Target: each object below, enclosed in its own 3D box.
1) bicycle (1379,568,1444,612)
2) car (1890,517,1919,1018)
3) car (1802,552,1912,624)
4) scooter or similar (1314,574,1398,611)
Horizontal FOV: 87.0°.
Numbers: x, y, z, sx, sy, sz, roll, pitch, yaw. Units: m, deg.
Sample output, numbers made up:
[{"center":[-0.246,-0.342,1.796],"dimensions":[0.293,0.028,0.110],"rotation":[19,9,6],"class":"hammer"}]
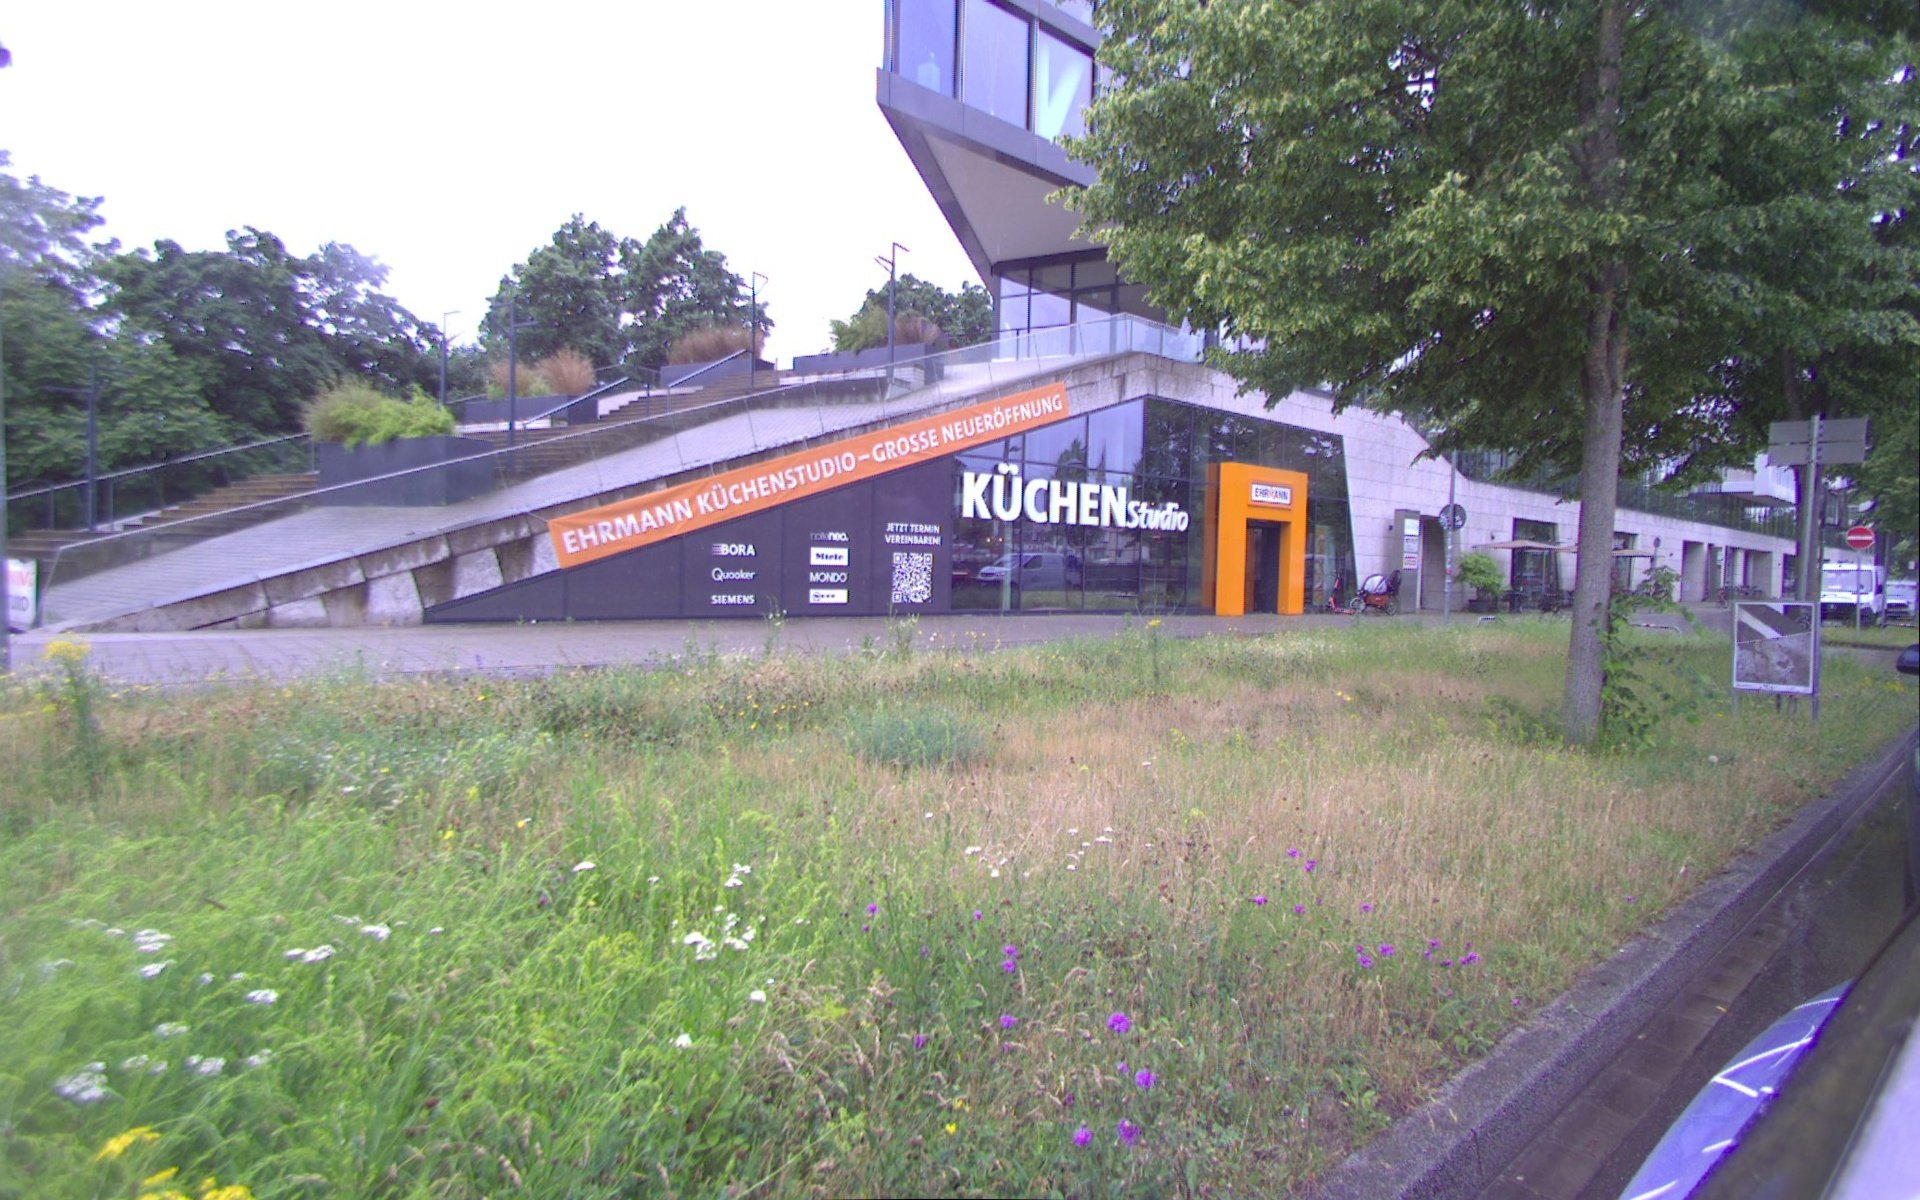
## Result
[{"center":[14.613,-0.334,32.716],"dimensions":[2.650,1.364,0.882],"rotation":[-1,0,-41],"class":"bicycle"},{"center":[5.590,0.630,4.321],"dimensions":[4.306,1.769,1.915],"rotation":[1,-1,-41],"class":"car"},{"center":[29.767,-0.403,33.535],"dimensions":[5.008,2.229,2.083],"rotation":[-1,0,-41],"class":"car"},{"center":[12.151,-0.246,31.009],"dimensions":[2.560,1.113,0.814],"rotation":[0,0,-23],"class":"scooter or similar"}]
